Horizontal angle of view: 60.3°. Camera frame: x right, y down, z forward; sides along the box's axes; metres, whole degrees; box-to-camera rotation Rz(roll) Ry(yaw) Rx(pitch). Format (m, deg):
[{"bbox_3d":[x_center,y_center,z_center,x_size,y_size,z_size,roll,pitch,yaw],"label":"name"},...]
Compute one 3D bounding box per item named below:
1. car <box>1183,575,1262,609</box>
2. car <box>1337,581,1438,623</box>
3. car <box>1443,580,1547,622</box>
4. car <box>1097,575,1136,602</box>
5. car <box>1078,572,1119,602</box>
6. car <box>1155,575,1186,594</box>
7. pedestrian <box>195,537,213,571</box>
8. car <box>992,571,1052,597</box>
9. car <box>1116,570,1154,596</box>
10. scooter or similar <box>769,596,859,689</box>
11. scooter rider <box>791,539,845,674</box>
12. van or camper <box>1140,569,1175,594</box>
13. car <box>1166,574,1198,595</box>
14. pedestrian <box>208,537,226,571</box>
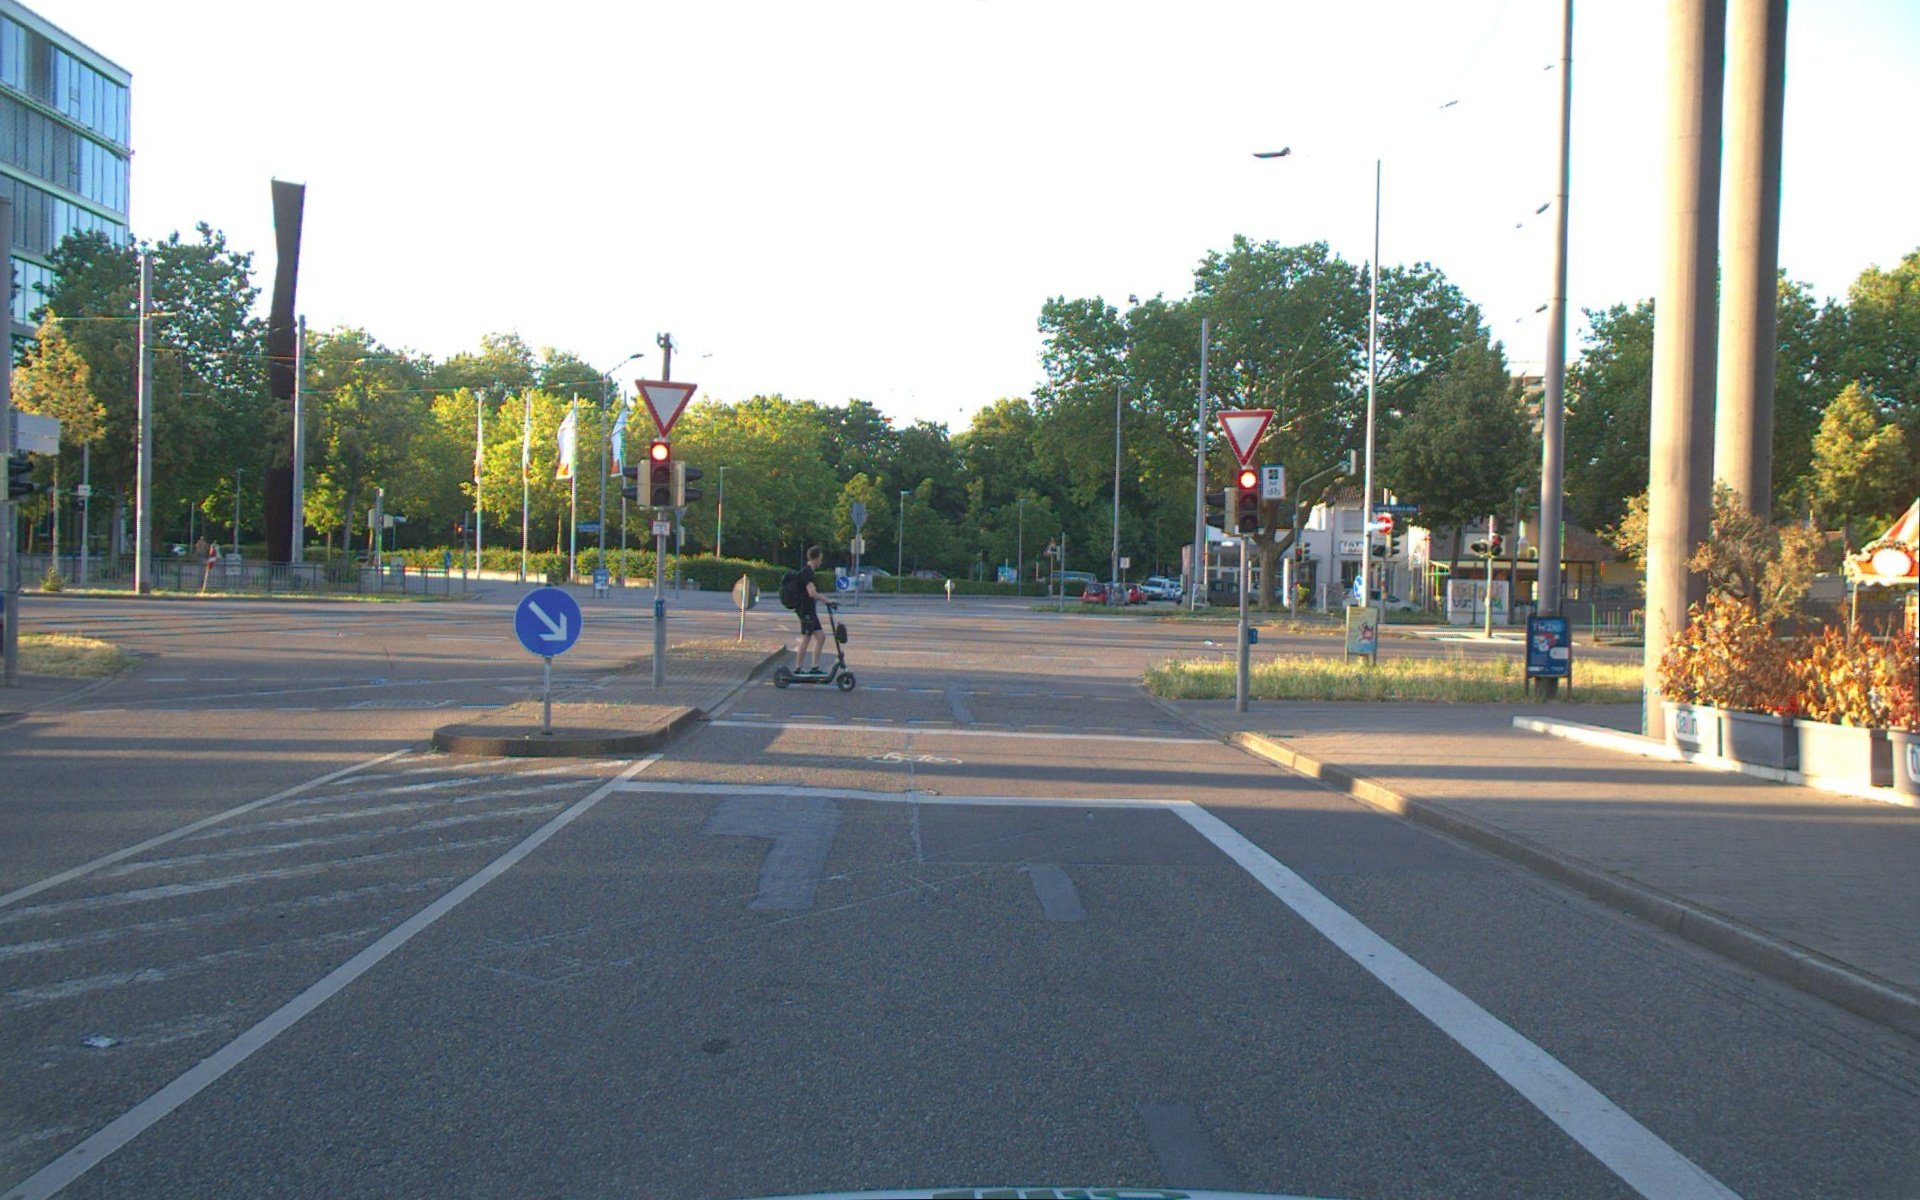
[{"bbox_3d":[15.350,-0.487,96.830,4.373,1.848,1.946,1,2,4],"label":"car"},{"bbox_3d":[20.731,0.078,80.380,4.375,1.848,1.946,1,2,0],"label":"car"},{"bbox_3d":[25.787,0.045,79.834,4.375,1.848,1.946,1,2,0],"label":"car"},{"bbox_3d":[10.164,-0.765,107.098,1.467,1.634,3.401,2,2,25],"label":"car"},{"bbox_3d":[8.683,-0.826,103.468,1.467,1.791,3.401,2,2,25],"label":"car"},{"bbox_3d":[18.125,-1.345,142.305,1.469,1.634,3.398,2,2,28],"label":"car"},{"bbox_3d":[-45.183,-2.749,98.882,0.681,2.048,0.699,2,2,18],"label":"pedestrian"},{"bbox_3d":[4.867,-1.275,130.228,4.585,1.901,2.014,1,2,5],"label":"car"},{"bbox_3d":[11.761,-1.161,110.800,1.467,1.634,3.401,2,2,25],"label":"car"},{"bbox_3d":[-1.987,0.576,22.576,1.190,1.221,0.503,1,2,-5],"label":"scooter or similar"},{"bbox_3d":[-1.937,0.086,22.561,0.692,1.813,0.442,1,2,-5],"label":"scooter rider"},{"bbox_3d":[16.542,-1.538,138.479,1.594,2.016,3.801,2,2,28],"label":"van or camper"},{"bbox_3d":[16.465,-1.145,122.535,1.467,1.503,3.082,2,2,25],"label":"car"},{"bbox_3d":[-44.873,-2.770,99.859,0.681,2.048,0.699,2,2,18],"label":"pedestrian"}]
